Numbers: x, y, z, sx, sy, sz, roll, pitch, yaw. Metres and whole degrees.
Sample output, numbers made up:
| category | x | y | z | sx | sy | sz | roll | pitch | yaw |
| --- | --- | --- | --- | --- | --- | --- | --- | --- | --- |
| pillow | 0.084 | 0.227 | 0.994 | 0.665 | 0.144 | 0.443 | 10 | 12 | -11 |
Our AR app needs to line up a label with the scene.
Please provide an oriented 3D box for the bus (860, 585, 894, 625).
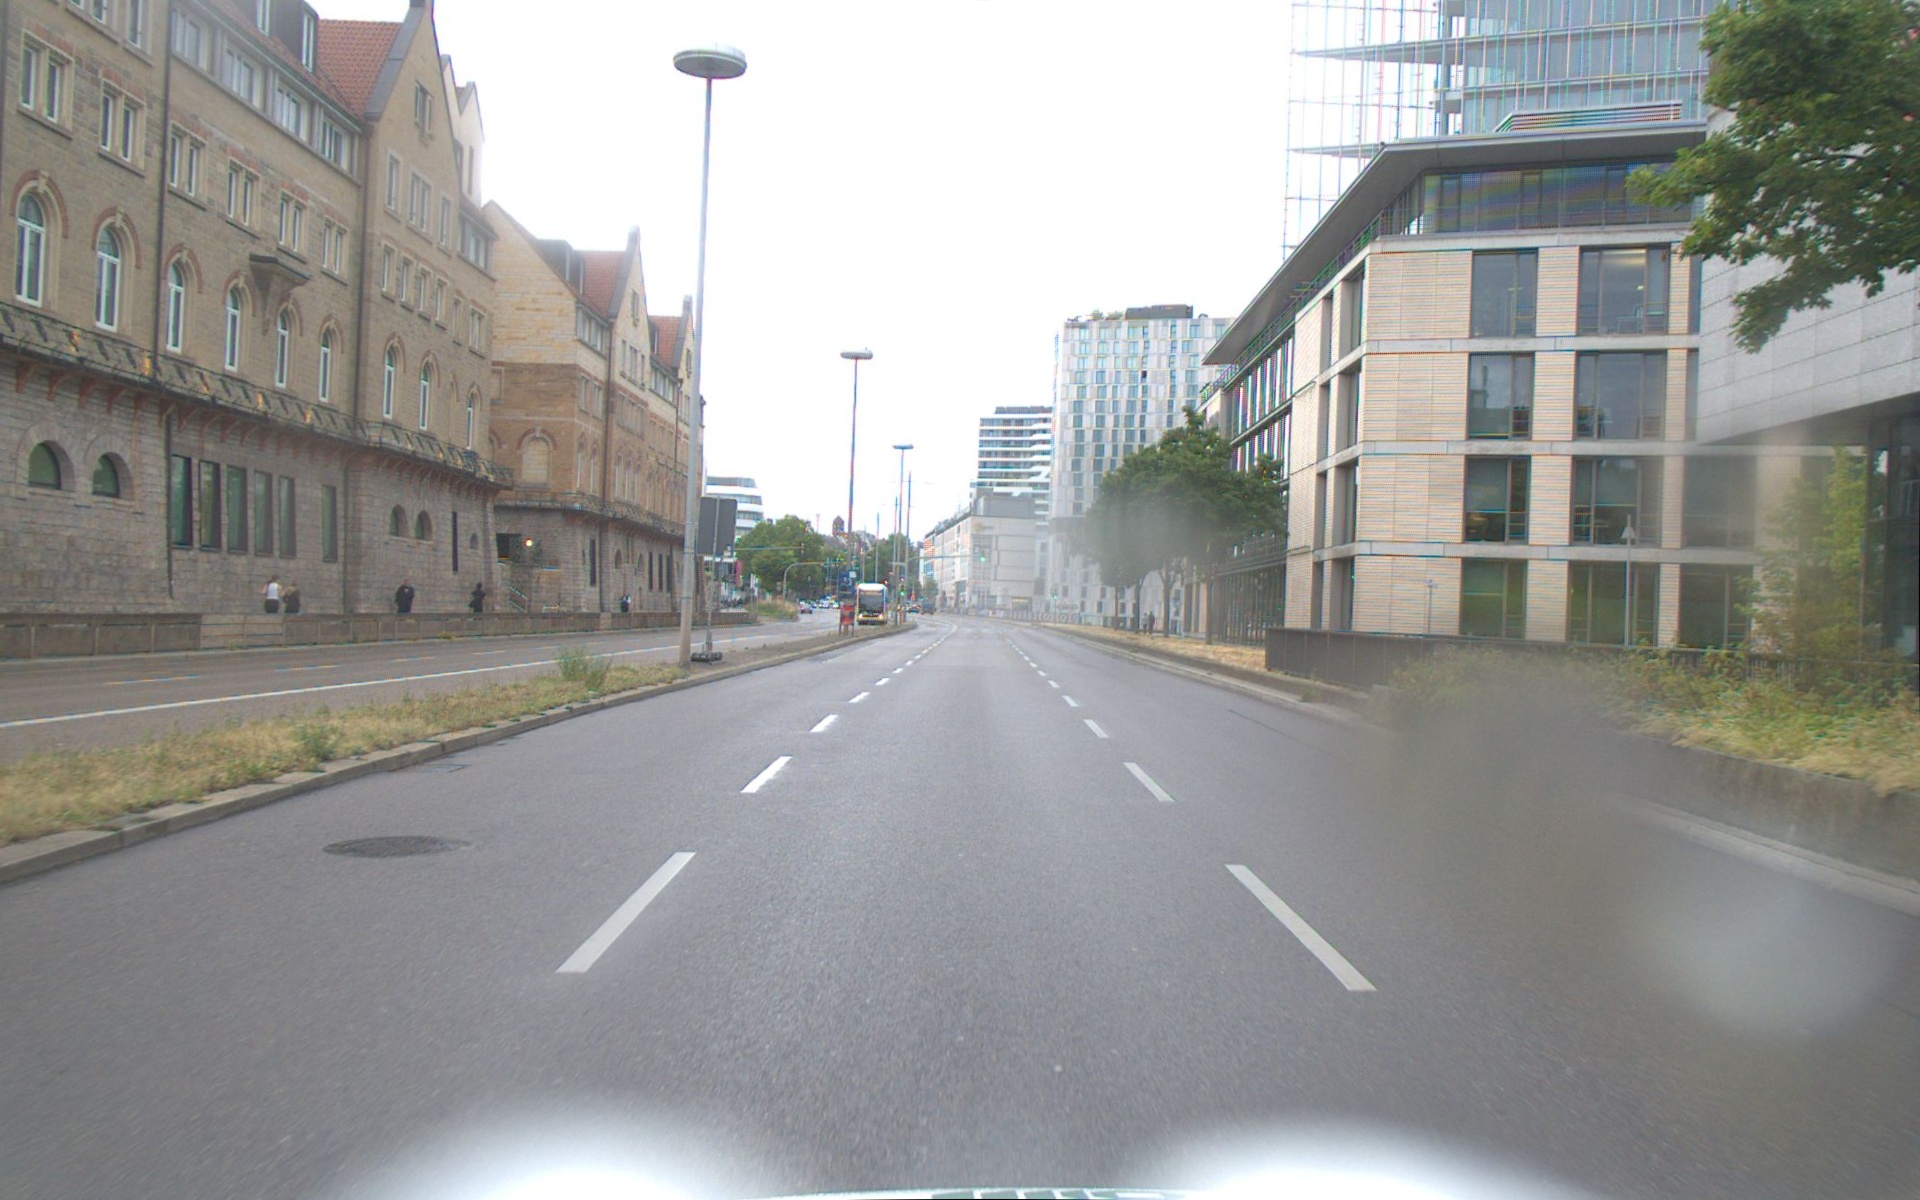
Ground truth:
| category | x | y | z | sx | sy | sz | roll | pitch | yaw |
| --- | --- | --- | --- | --- | --- | --- | --- | --- | --- |
| bus | -7.754 | 0.398 | 156.083 | 2.643 | 3.621 | 10.093 | 1 | 0 | 0 |

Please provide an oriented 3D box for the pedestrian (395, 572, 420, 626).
| category | x | y | z | sx | sy | sz | roll | pitch | yaw |
| --- | --- | --- | --- | --- | --- | --- | --- | --- | --- |
| pedestrian | -18.596 | -0.032 | 55.660 | 0.627 | 1.776 | 0.621 | 1 | 1 | -2 |

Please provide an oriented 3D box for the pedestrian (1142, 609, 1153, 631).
| category | x | y | z | sx | sy | sz | roll | pitch | yaw |
| --- | --- | --- | --- | --- | --- | --- | --- | --- | --- |
| pedestrian | 13.899 | 1.481 | 122.317 | 0.540 | 1.605 | 0.668 | 1 | 1 | 35 |

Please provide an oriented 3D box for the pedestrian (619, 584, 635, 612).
| category | x | y | z | sx | sy | sz | roll | pitch | yaw |
| --- | --- | --- | --- | --- | --- | --- | --- | --- | --- |
| pedestrian | -18.122 | -0.094 | 89.988 | 0.738 | 1.503 | 0.714 | 1 | 1 | 0 |

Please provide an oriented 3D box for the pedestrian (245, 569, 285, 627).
| category | x | y | z | sx | sy | sz | roll | pitch | yaw |
| --- | --- | --- | --- | --- | --- | --- | --- | --- | --- |
| pedestrian | -18.457 | -0.053 | 43.921 | 0.738 | 1.503 | 0.714 | 1 | 1 | 0 |

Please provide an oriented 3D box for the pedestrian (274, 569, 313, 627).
| category | x | y | z | sx | sy | sz | roll | pitch | yaw |
| --- | --- | --- | --- | --- | --- | --- | --- | --- | --- |
| pedestrian | -17.693 | -0.064 | 43.938 | 0.738 | 1.503 | 0.714 | 1 | 1 | 0 |

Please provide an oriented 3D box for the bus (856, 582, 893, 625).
| category | x | y | z | sx | sy | sz | roll | pitch | yaw |
| --- | --- | --- | --- | --- | --- | --- | --- | --- | --- |
| bus | -7.470 | 0.292 | 144.884 | 2.643 | 3.621 | 10.093 | 1 | 0 | 0 |

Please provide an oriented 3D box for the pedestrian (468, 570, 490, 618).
| category | x | y | z | sx | sy | sz | roll | pitch | yaw |
| --- | --- | --- | --- | --- | --- | --- | --- | --- | --- |
| pedestrian | -18.251 | -0.234 | 62.760 | 0.627 | 1.776 | 0.621 | 1 | 1 | -2 |
